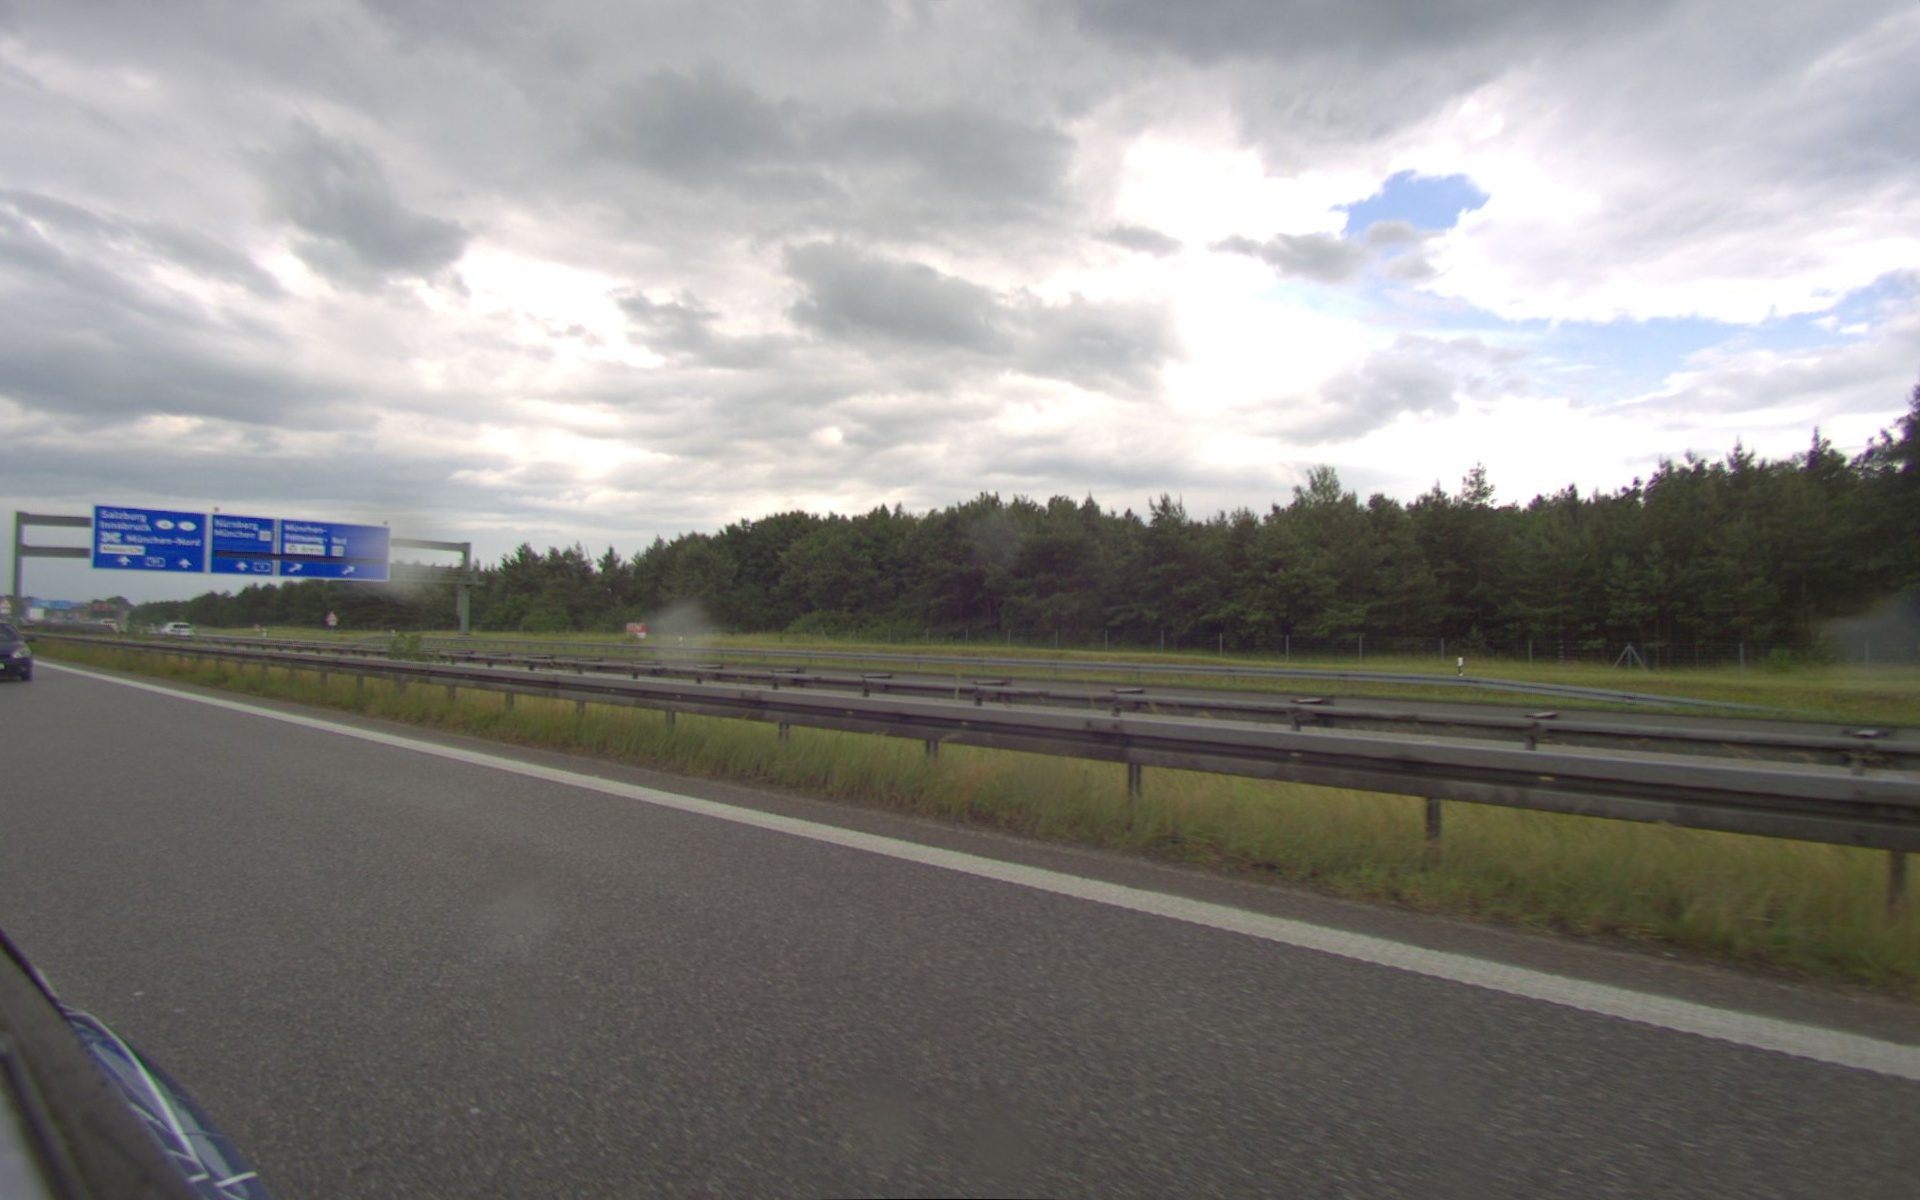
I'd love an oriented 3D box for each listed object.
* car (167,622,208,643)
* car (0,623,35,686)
[{"bbox_3d":[-59.610,2.486,78.064,3.998,1.586,1.701,-1,-2,41],"label":"car"},{"bbox_3d":[-23.084,1.246,23.625,4.430,1.339,1.786,-1,-1,42],"label":"car"}]
